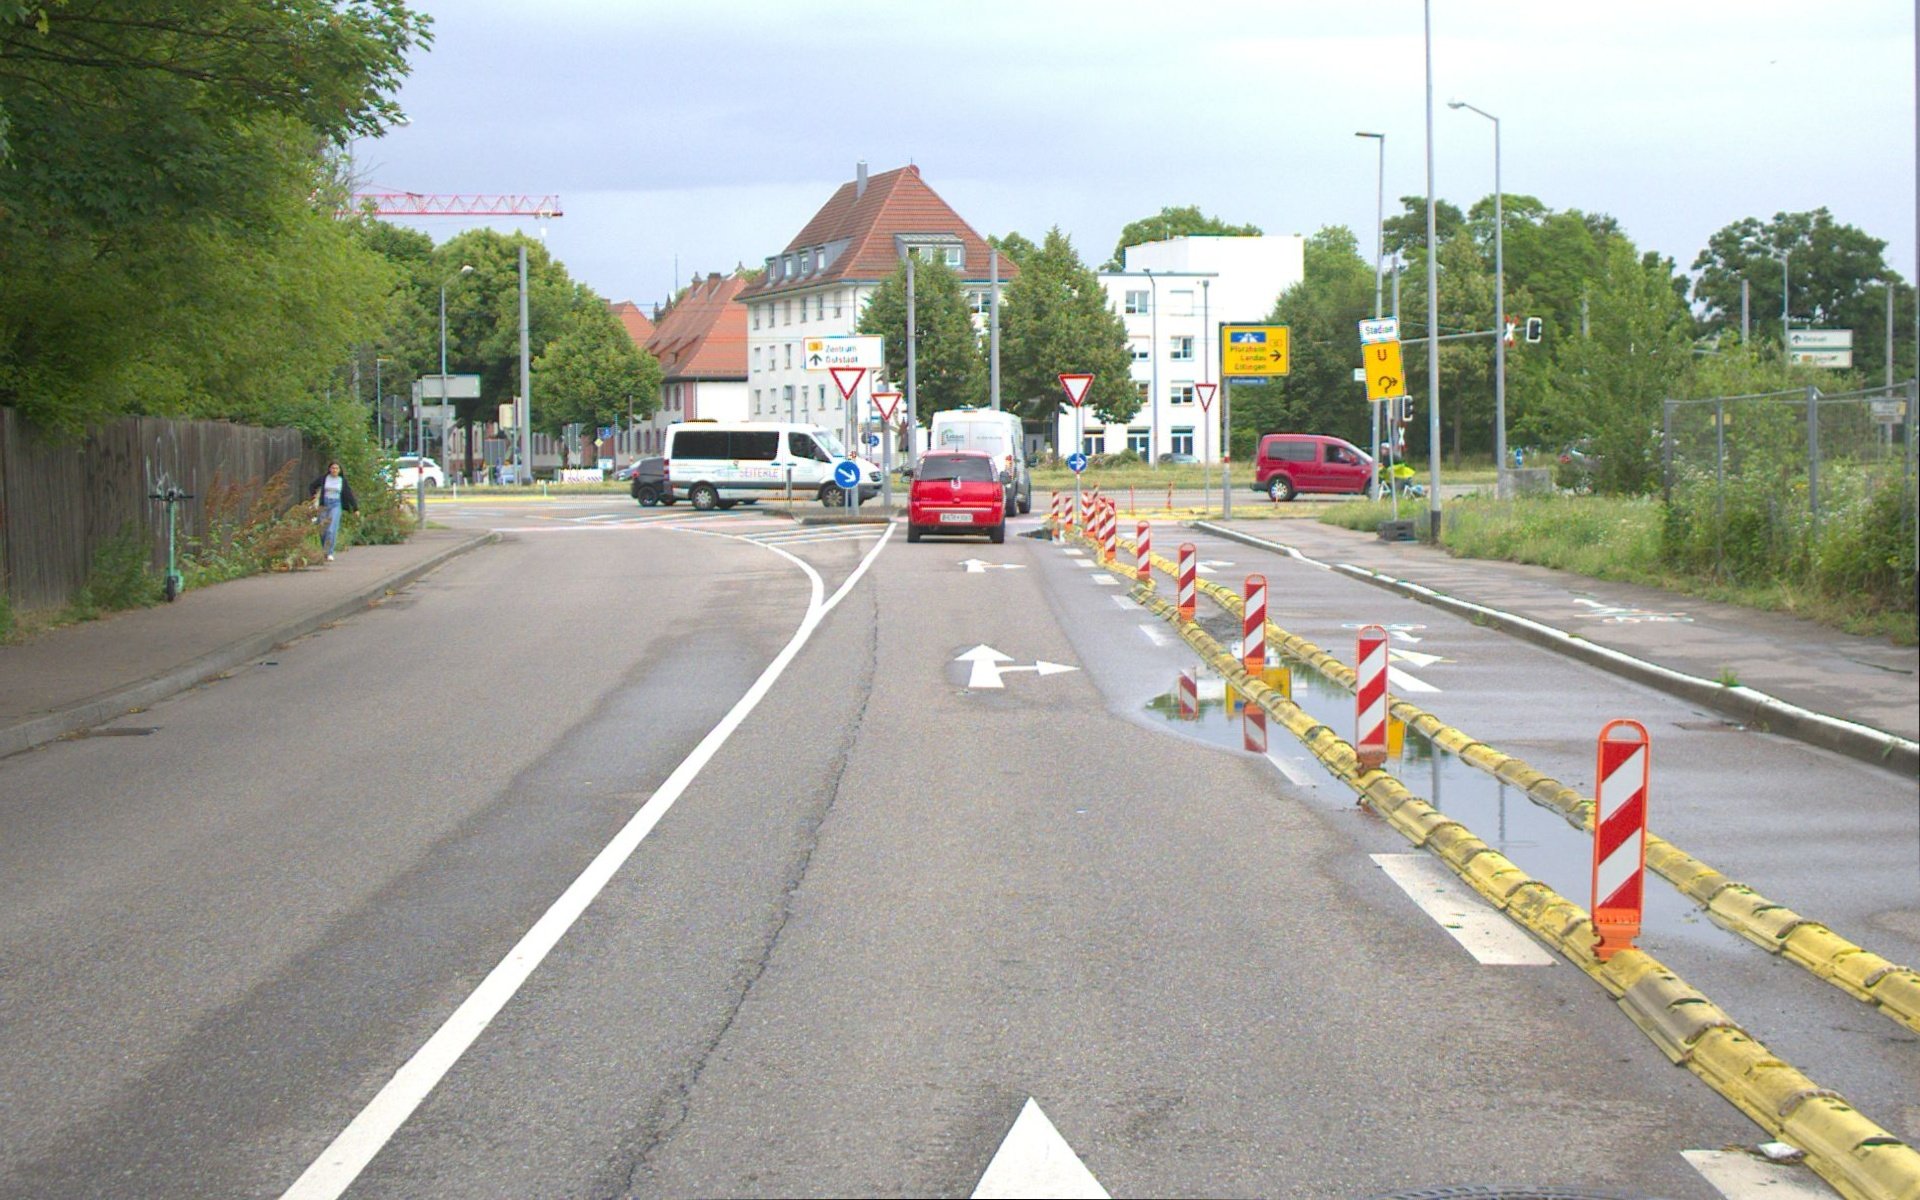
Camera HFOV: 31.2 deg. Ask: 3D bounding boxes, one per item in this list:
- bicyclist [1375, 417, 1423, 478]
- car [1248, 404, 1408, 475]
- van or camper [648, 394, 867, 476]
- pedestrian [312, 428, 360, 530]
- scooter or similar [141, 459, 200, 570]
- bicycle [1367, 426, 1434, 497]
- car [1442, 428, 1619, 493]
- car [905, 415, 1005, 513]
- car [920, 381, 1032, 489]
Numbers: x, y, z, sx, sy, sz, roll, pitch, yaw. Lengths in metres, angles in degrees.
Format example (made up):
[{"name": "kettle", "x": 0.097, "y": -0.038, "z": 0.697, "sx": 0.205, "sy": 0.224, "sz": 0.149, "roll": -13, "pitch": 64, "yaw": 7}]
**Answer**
[{"name": "bicyclist", "x": 10.199, "y": -3.545, "z": 79.816, "sx": 1.062, "sy": 1.396, "sz": 0.615, "roll": -1, "pitch": 3, "yaw": 4}, {"name": "car", "x": 10.194, "y": -4.442, "z": 95.108, "sx": 4.196, "sy": 1.911, "sz": 2.115, "roll": 0, "pitch": 3, "yaw": 11}, {"name": "van or camper", "x": -5.464, "y": -4.453, "z": 92.943, "sx": 5.537, "sy": 2.108, "sz": 1.999, "roll": 0, "pitch": 3, "yaw": 13}, {"name": "pedestrian", "x": -9.424, "y": -1.827, "z": 51.963, "sx": 0.612, "sy": 1.524, "sz": 0.724, "roll": -1, "pitch": 3, "yaw": -4}, {"name": "scooter or similar", "x": -8.510, "y": -0.934, "z": 37.097, "sx": 0.422, "sy": 1.166, "sz": 1.304, "roll": -1, "pitch": 3, "yaw": -5}, {"name": "bicycle", "x": 10.089, "y": -3.168, "z": 78.842, "sx": 1.477, "sy": 1.606, "sz": 0.606, "roll": -1, "pitch": 3, "yaw": 4}, {"name": "car", "x": 16.335, "y": -3.998, "z": 98.565, "sx": 4.605, "sy": 1.789, "sz": 2.110, "roll": 2, "pitch": 4, "yaw": 43}, {"name": "car", "x": -0.079, "y": -2.384, "z": 59.993, "sx": 1.673, "sy": 1.634, "sz": 3.628, "roll": 1, "pitch": 3, "yaw": 0}, {"name": "car", "x": 0.426, "y": -4.004, "z": 83.433, "sx": 2.195, "sy": 2.531, "sz": 4.962, "roll": 1, "pitch": 3, "yaw": 6}]
